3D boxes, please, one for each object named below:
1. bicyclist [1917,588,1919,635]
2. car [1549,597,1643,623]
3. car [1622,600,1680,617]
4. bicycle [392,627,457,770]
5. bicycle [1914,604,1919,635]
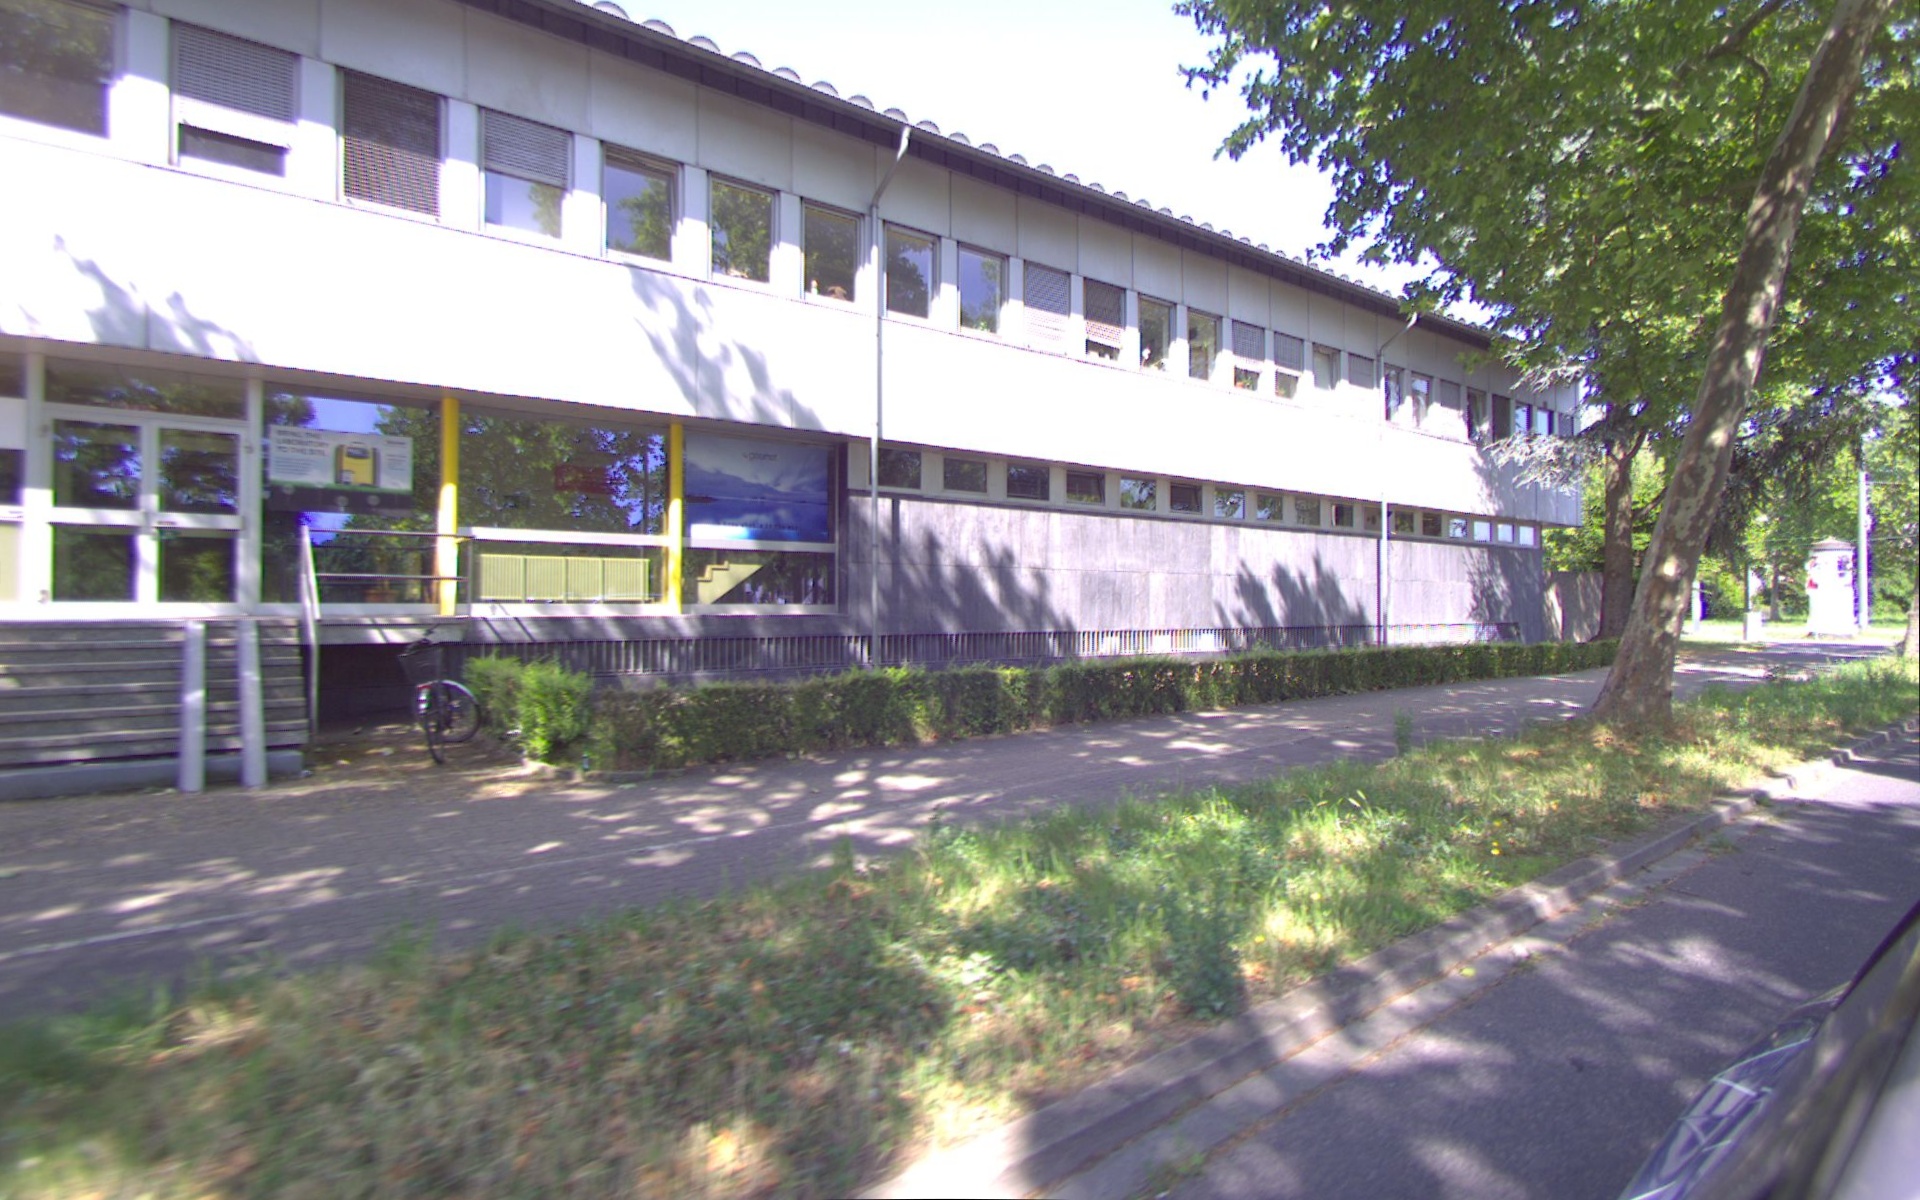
[{"bbox_3d":[37.505,0.433,39.056,0.795,1.810,0.702,1,-1,-38],"label":"bicyclist"},{"bbox_3d":[41.253,0.627,65.707,5.012,1.517,2.146,-1,0,-12],"label":"car"},{"bbox_3d":[62.309,0.759,91.291,4.263,1.509,2.004,0,0,-15],"label":"car"},{"bbox_3d":[-5.035,0.867,9.518,0.498,1.144,1.678,0,1,-28],"label":"bicycle"},{"bbox_3d":[37.507,0.751,39.058,2.086,1.200,0.693,0,-1,-38],"label":"bicycle"}]
